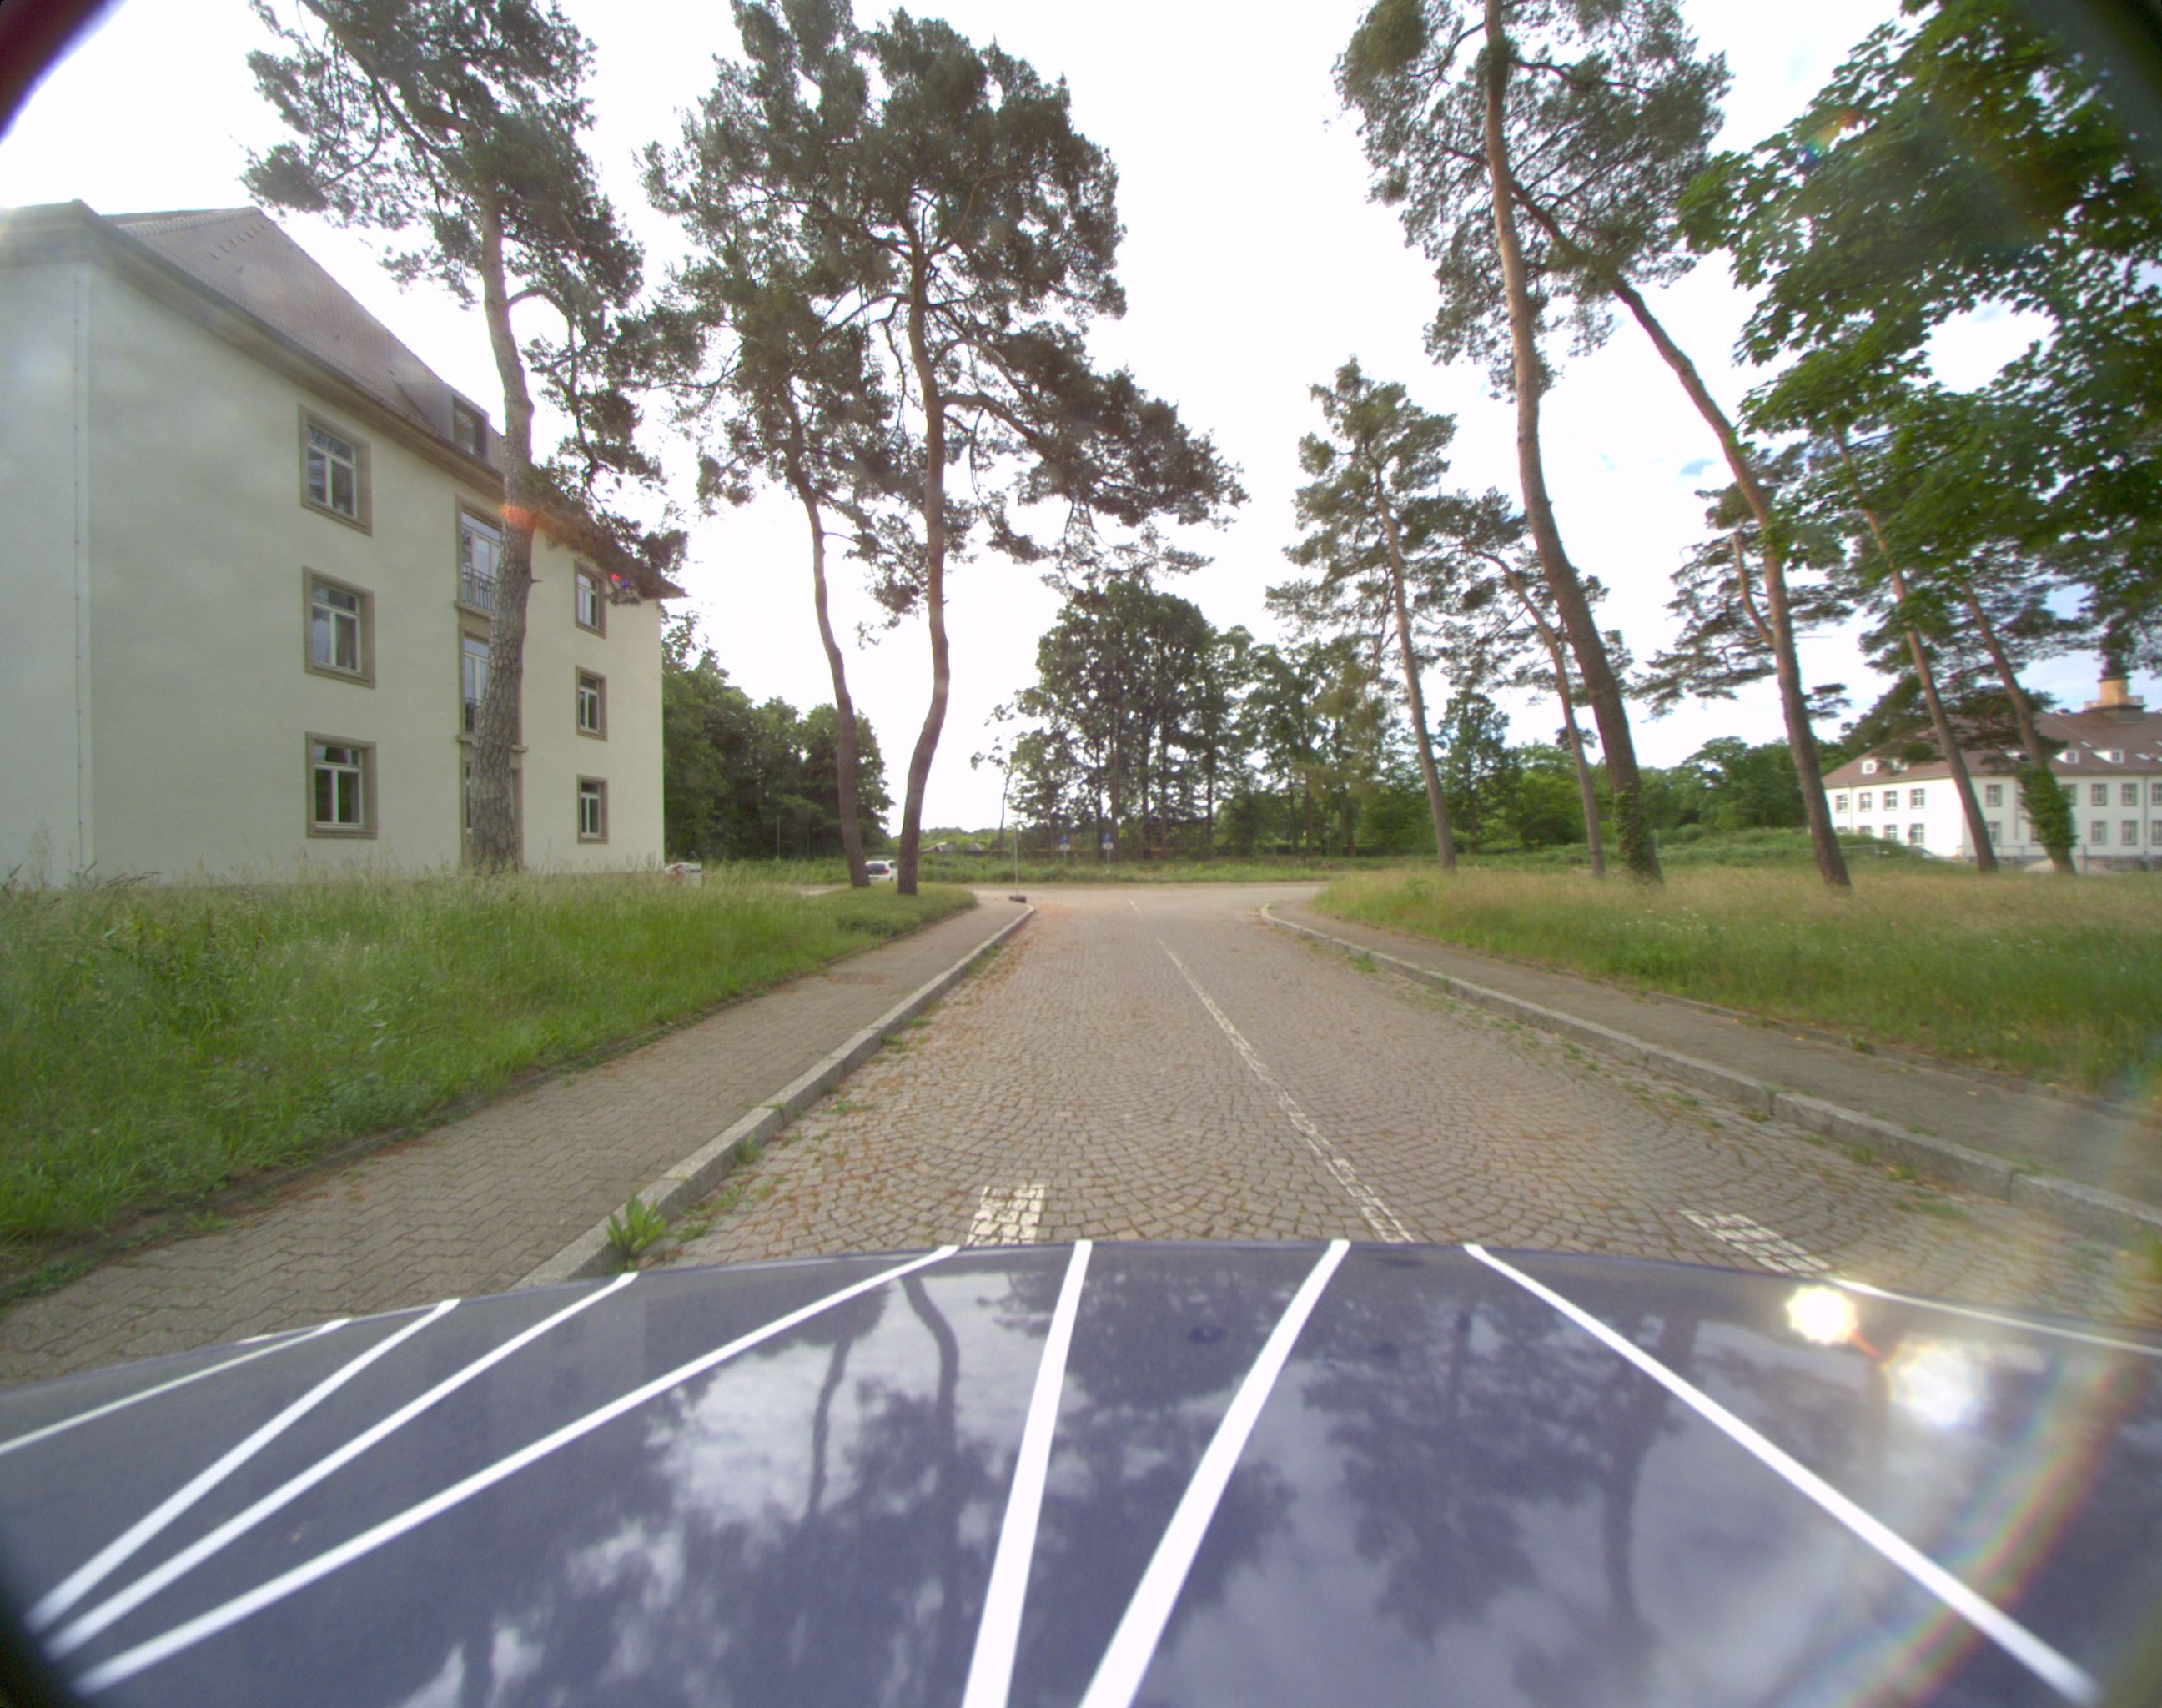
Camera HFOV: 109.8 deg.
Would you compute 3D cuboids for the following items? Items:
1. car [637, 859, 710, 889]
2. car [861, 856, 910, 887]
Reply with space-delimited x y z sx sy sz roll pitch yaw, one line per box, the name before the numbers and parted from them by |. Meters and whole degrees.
car | -21.753 1.048 40.737 1.641 1.321 3.999 -1 2 1
car | -10.445 0.922 40.771 1.641 1.426 3.277 0 2 2
